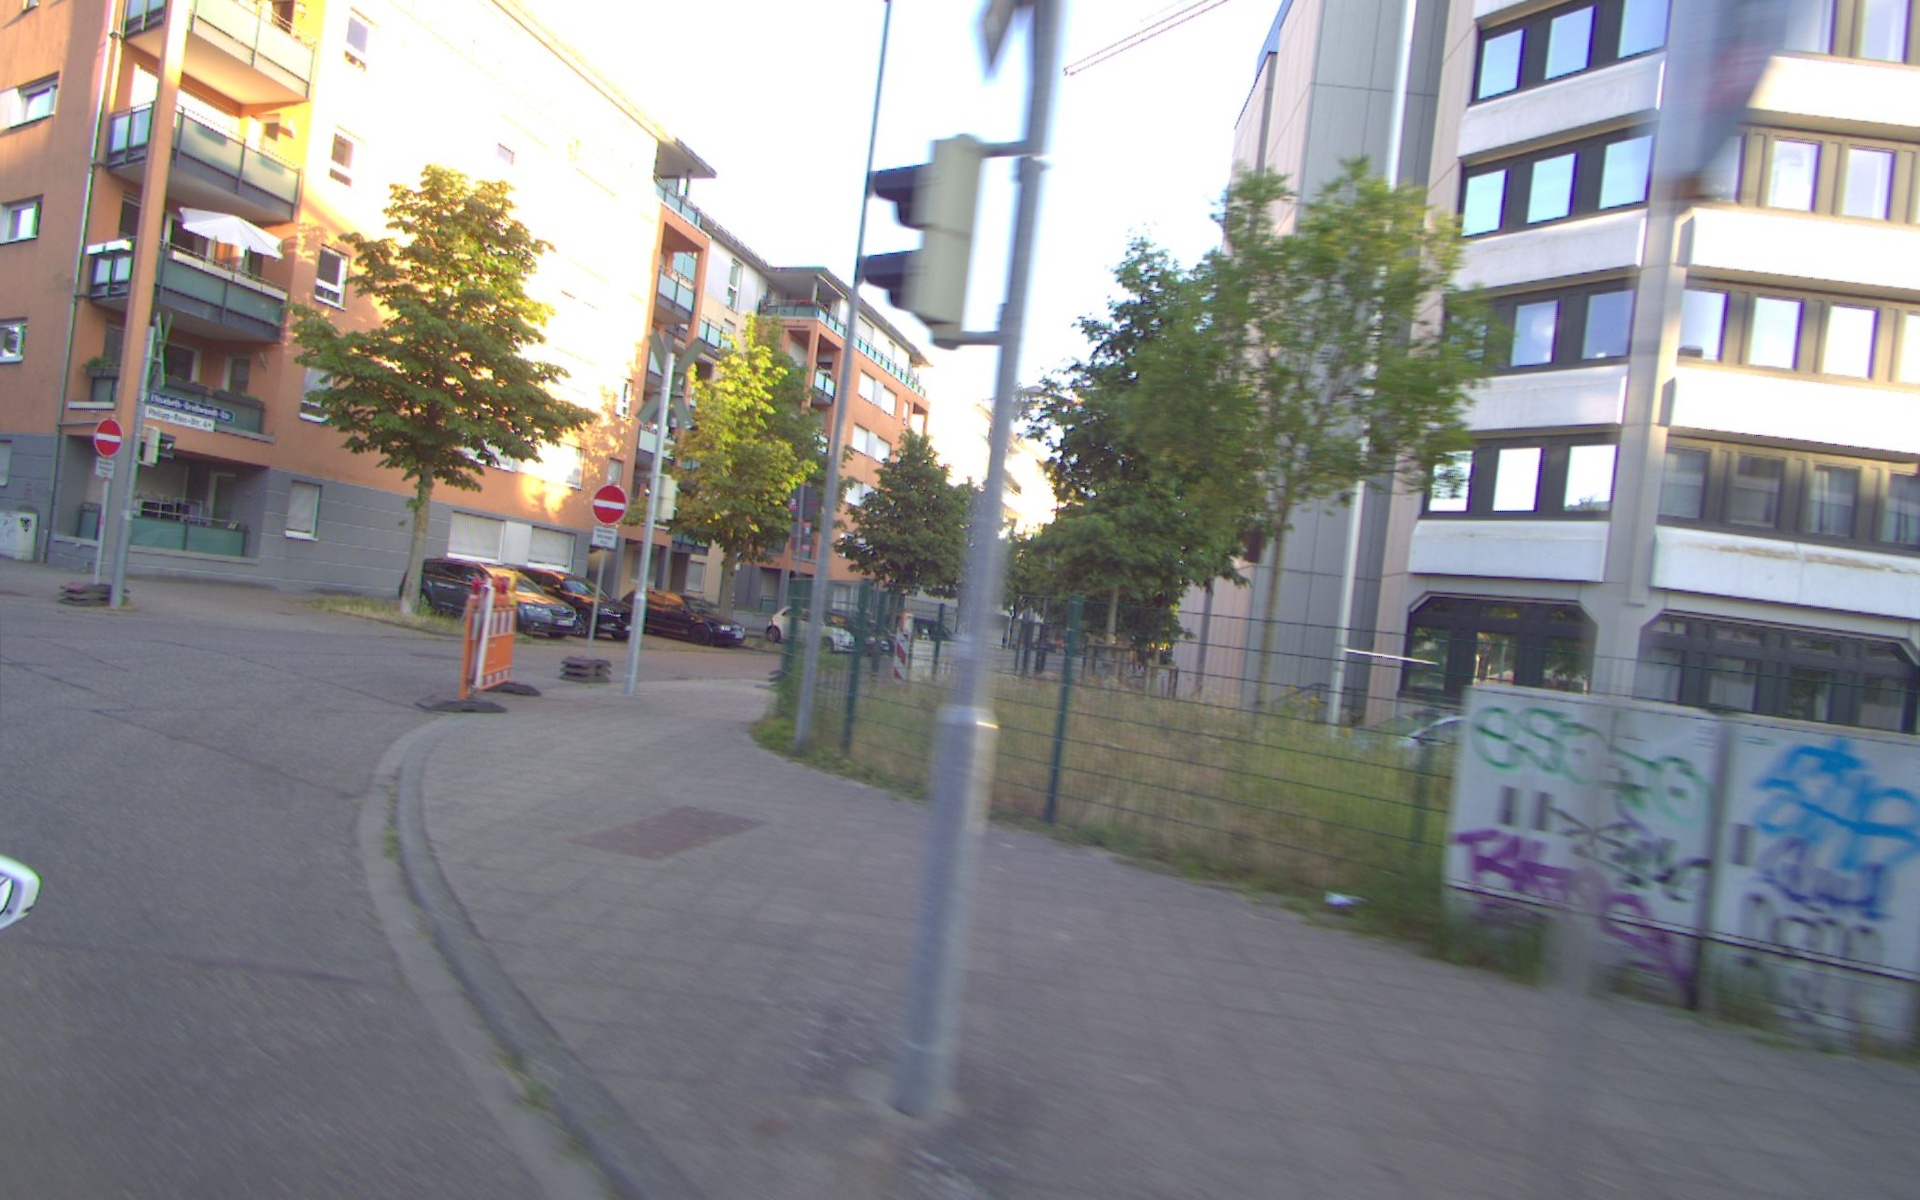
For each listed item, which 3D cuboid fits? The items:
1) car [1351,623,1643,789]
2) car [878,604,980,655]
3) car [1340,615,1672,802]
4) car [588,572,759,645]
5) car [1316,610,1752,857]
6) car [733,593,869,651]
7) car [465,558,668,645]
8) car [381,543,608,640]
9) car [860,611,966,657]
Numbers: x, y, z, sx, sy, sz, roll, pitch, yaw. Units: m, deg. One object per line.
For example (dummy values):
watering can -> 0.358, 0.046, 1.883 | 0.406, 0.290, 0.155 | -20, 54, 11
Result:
car -> 8.931, 1.706, 17.022 | 3.930, 2.038, 1.998 | 7, -1, 28
car -> -1.593, 1.566, 52.492 | 4.724, 2.008, 2.001 | 7, 0, 17
car -> 8.041, 1.538, 15.145 | 3.930, 2.038, 1.998 | 7, -1, 28
car -> -8.905, 0.280, 31.347 | 4.725, 1.614, 2.000 | 7, 0, 20
car -> 6.517, 1.427, 11.871 | 3.930, 2.038, 1.998 | 7, -1, 28
car -> -6.174, 0.850, 39.159 | 4.724, 1.614, 2.001 | 7, 0, 17
car -> -10.376, 0.039, 26.583 | 4.725, 1.613, 2.001 | 7, -1, 20
car -> -11.022, -0.198, 23.859 | 4.725, 1.613, 2.001 | 7, -1, 20
car -> -2.331, 1.691, 50.062 | 4.724, 1.614, 2.001 | 7, 0, 17
